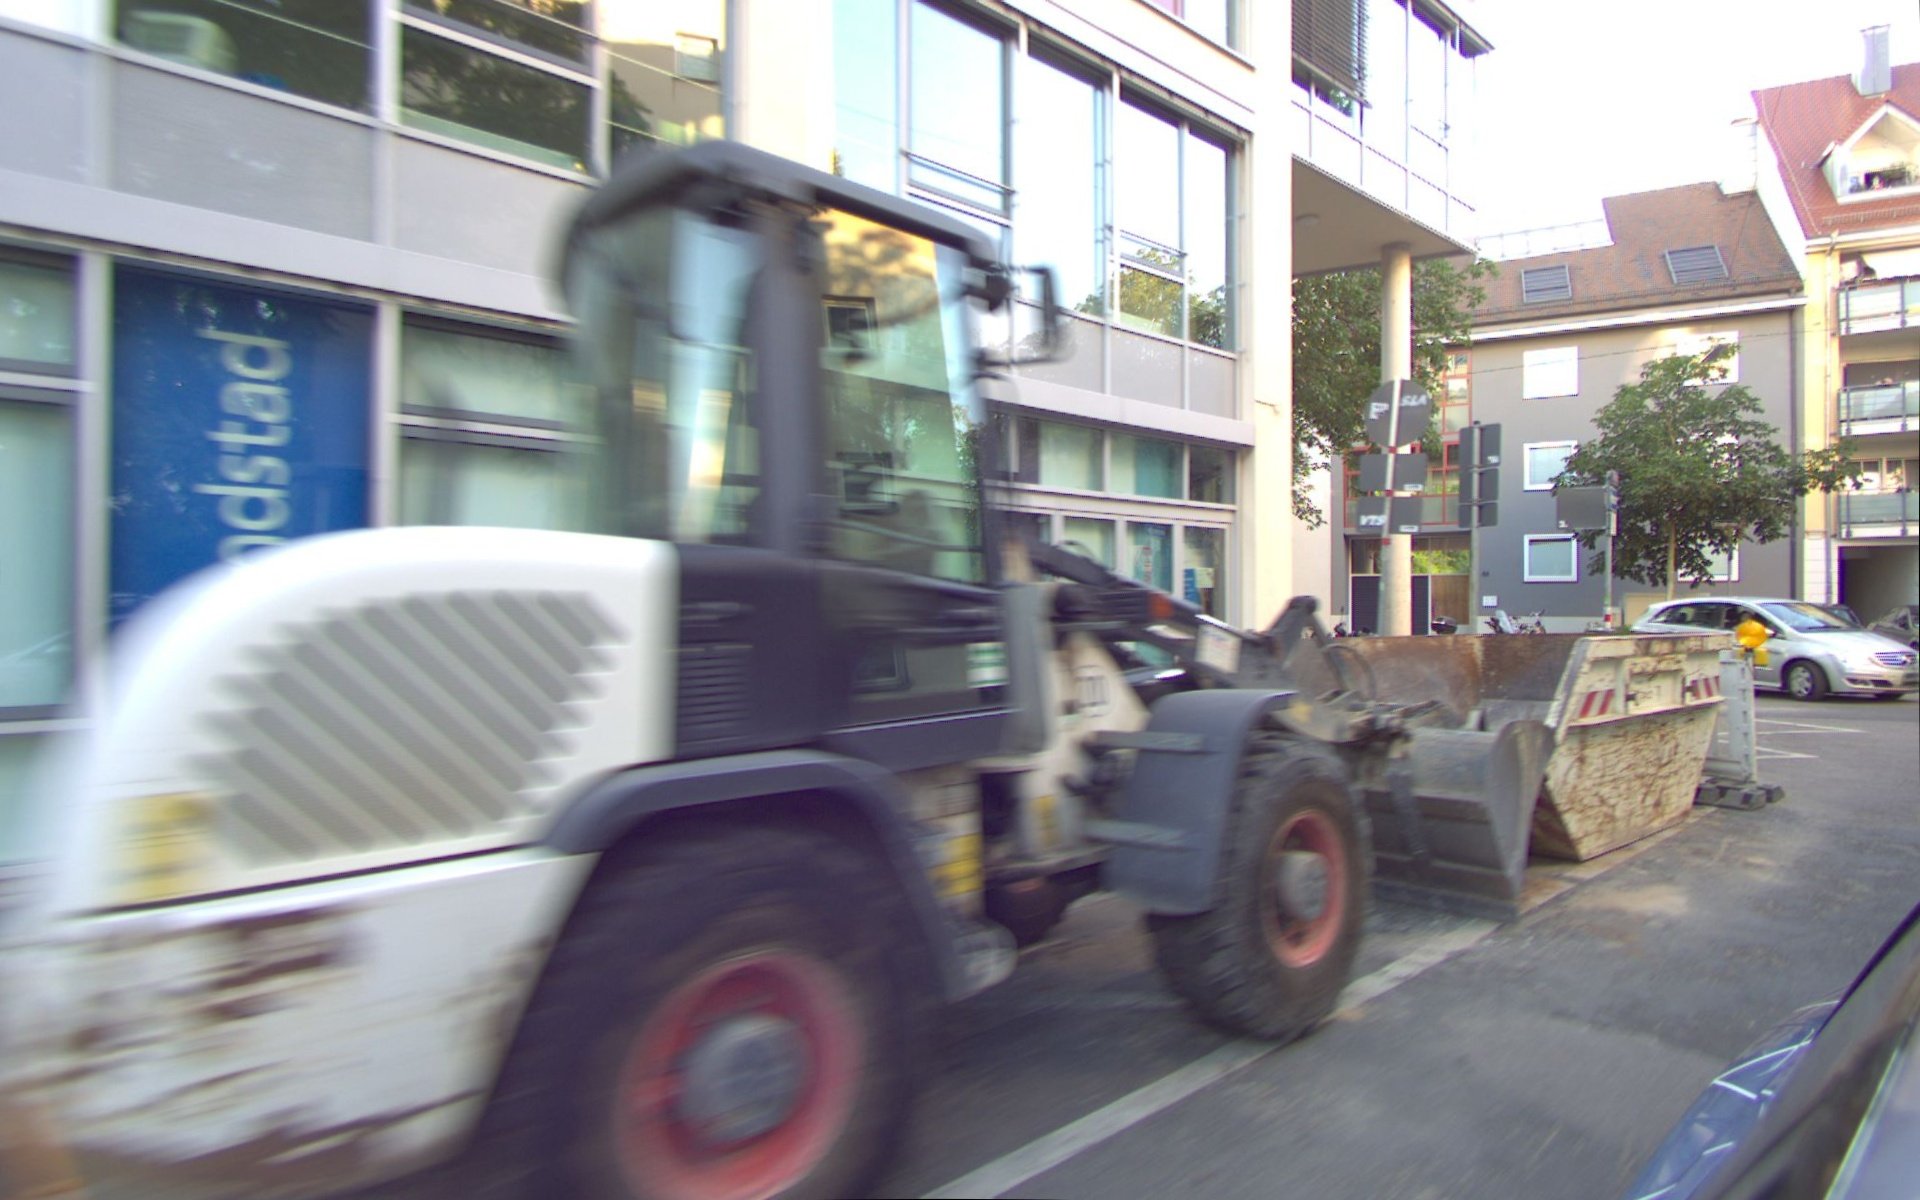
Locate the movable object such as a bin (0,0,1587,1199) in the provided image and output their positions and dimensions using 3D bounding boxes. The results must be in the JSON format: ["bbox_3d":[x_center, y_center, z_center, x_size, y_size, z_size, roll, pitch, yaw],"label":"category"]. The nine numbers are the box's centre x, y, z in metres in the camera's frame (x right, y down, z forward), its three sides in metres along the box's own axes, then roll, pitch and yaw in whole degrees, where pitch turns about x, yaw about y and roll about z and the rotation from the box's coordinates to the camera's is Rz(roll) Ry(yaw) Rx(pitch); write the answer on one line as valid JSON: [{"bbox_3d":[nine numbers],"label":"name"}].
[{"bbox_3d":[0.168,0.144,3.884,5.648,2.657,2.019,0,-2,-40],"label":"movable object such as a bin"}]

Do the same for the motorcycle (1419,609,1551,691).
[{"bbox_3d":[9.608,0.875,18.638,0.783,1.413,2.212,1,-1,-20],"label":"motorcycle"}]

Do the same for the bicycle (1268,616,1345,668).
[{"bbox_3d":[7.415,0.881,21.667,1.517,1.079,0.372,0,-1,27],"label":"bicycle"}]

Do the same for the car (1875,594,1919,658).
[{"bbox_3d":[23.930,0.646,24.393,1.731,1.420,4.207,1,2,27],"label":"car"}]

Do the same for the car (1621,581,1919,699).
[{"bbox_3d":[13.380,0.570,16.512,1.768,1.637,4.280,-1,0,-13],"label":"car"}]

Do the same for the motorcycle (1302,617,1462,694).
[{"bbox_3d":[6.456,0.831,15.602,2.221,1.138,0.637,0,-1,19],"label":"motorcycle"}]

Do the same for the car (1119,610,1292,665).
[{"bbox_3d":[6.973,1.062,28.827,4.496,1.469,1.870,0,-3,29],"label":"car"}]

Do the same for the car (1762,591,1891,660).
[{"bbox_3d":[21.784,0.586,25.586,1.617,1.468,3.821,1,2,27],"label":"car"}]

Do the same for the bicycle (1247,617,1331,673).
[{"bbox_3d":[6.430,0.870,19.805,1.517,1.054,0.372,0,-1,27],"label":"bicycle"}]

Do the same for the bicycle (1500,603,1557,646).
[{"bbox_3d":[16.774,0.713,29.890,1.446,1.224,0.606,0,1,29],"label":"bicycle"}]
